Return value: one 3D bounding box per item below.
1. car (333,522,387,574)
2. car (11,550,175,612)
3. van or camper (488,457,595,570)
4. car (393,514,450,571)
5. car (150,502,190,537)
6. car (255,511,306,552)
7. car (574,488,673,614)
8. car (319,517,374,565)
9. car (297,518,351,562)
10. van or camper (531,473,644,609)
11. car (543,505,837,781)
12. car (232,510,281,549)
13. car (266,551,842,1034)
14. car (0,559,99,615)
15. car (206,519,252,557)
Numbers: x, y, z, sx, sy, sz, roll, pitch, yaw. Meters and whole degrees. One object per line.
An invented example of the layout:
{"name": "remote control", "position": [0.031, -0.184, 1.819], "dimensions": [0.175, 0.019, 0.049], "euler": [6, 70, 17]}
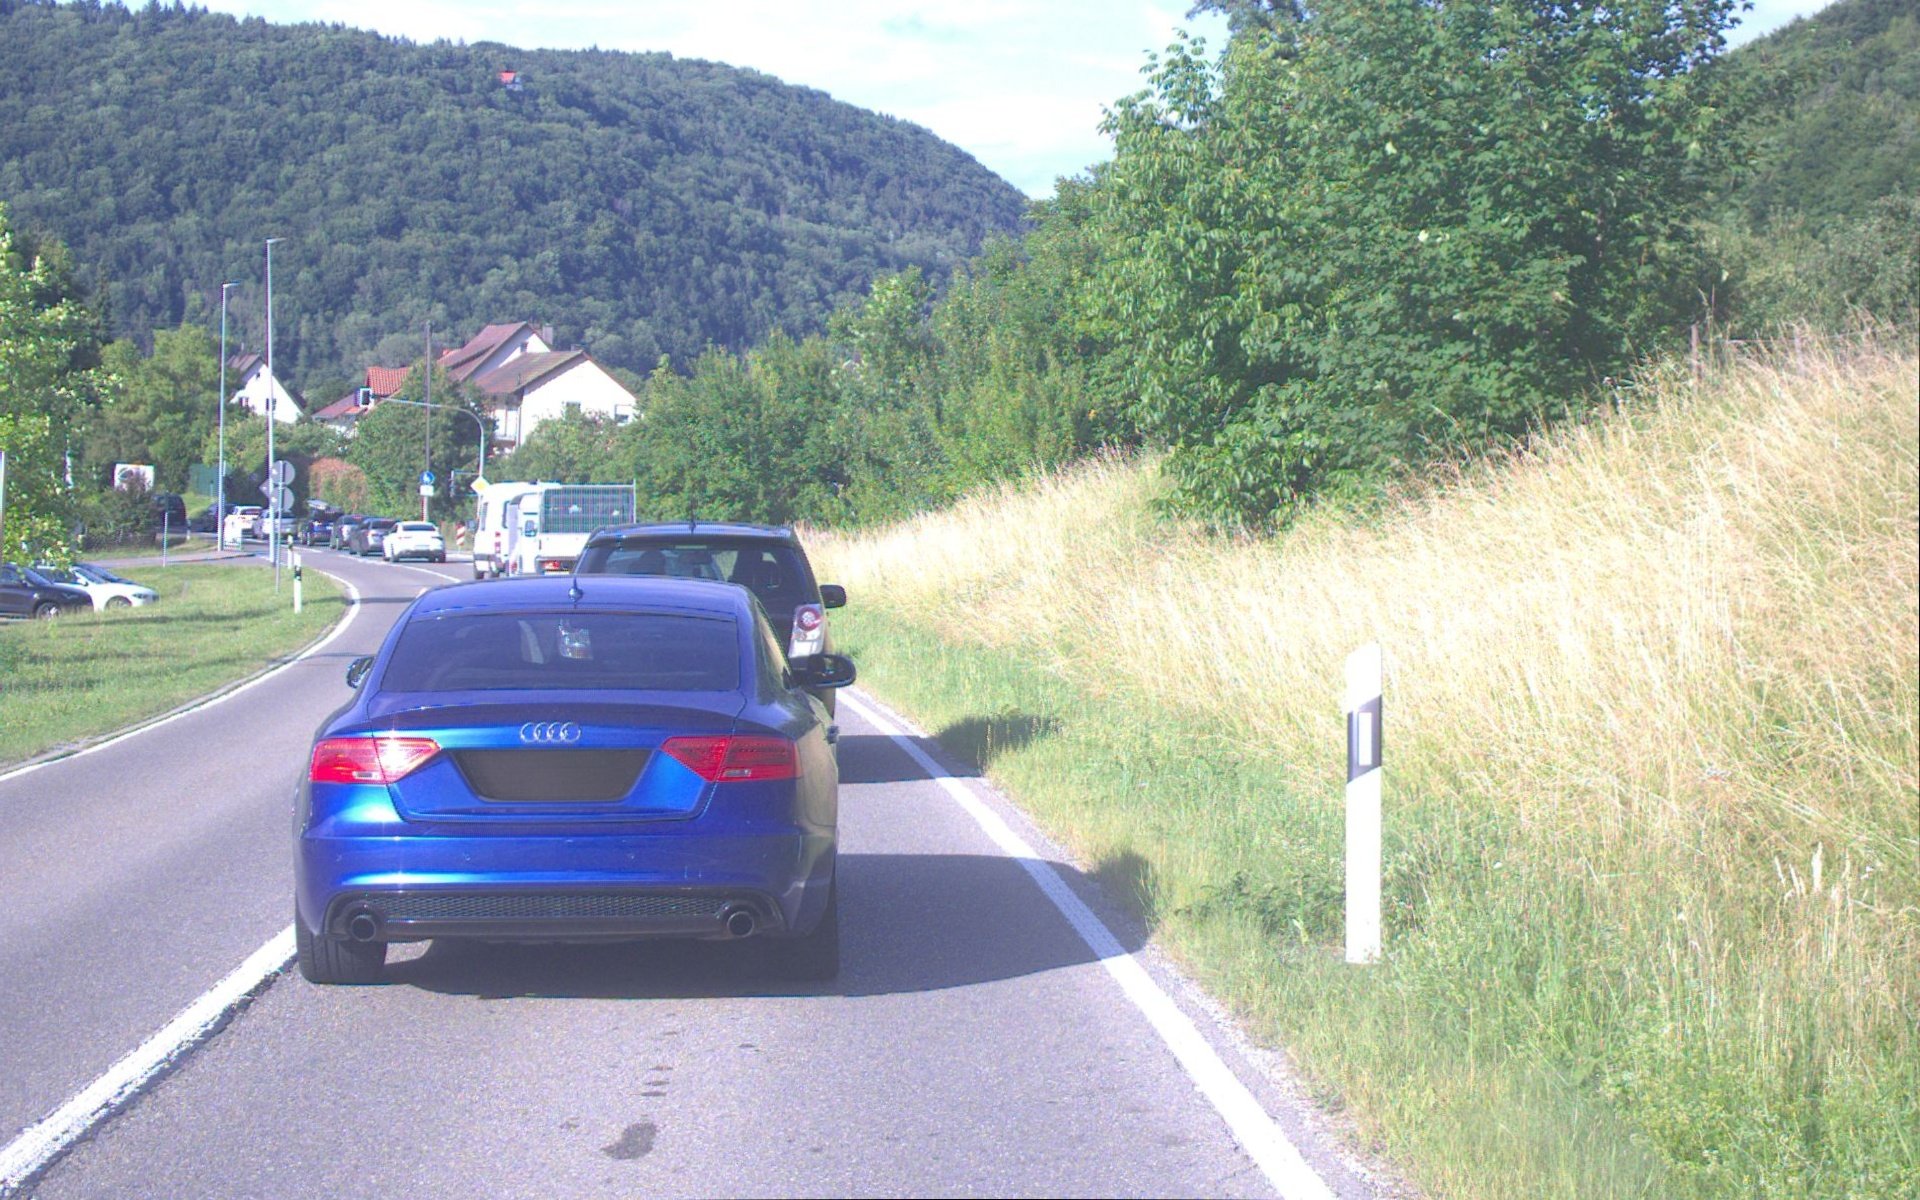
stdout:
{"name": "car", "position": [-22.902, -1.983, 131.170], "dimensions": [1.659, 1.918, 4.001], "euler": [-1, 1, -15]}
{"name": "car", "position": [-23.795, -0.536, 94.419], "dimensions": [4.036, 1.655, 1.655], "euler": [0, 1, 4]}
{"name": "van or camper", "position": [-10.509, -2.139, 86.013], "dimensions": [2.280, 2.704, 5.769], "euler": [-1, 1, -10]}
{"name": "car", "position": [-18.776, -1.991, 119.778], "dimensions": [1.659, 1.918, 4.001], "euler": [-1, 1, -13]}
{"name": "car", "position": [-44.609, -4.539, 194.056], "dimensions": [1.676, 1.918, 4.001], "euler": [-1, 1, -20]}
{"name": "car", "position": [-32.462, -3.275, 164.136], "dimensions": [1.676, 1.918, 4.001], "euler": [-1, 1, -21]}
{"name": "car", "position": [-5.609, -0.836, 57.486], "dimensions": [1.567, 2.007, 4.001], "euler": [-1, 1, -5]}
{"name": "car", "position": [-25.272, -2.418, 141.493], "dimensions": [1.659, 1.918, 4.001], "euler": [-1, 1, -18]}
{"name": "car", "position": [-28.018, -2.636, 151.386], "dimensions": [1.676, 1.918, 4.001], "euler": [-1, 1, -19]}
{"name": "van or camper", "position": [-7.270, -1.148, 66.713], "dimensions": [2.051, 2.497, 5.813], "euler": [-1, 1, -7]}
{"name": "car", "position": [-1.819, 0.228, 22.283], "dimensions": [1.645, 1.619, 3.518], "euler": [1, 1, -8]}
{"name": "car", "position": [-35.488, -3.553, 173.274], "dimensions": [1.676, 1.918, 4.001], "euler": [-1, 1, -22]}
{"name": "car", "position": [-1.400, 0.561, 12.318], "dimensions": [1.742, 1.445, 3.517], "euler": [-1, 1, -5]}
{"name": "car", "position": [-24.588, -0.333, 89.938], "dimensions": [3.713, 1.434, 1.509], "euler": [0, 1, 4]}
{"name": "car", "position": [-38.395, -3.256, 180.576], "dimensions": [1.954, 1.918, 4.001], "euler": [-1, 1, -17]}
